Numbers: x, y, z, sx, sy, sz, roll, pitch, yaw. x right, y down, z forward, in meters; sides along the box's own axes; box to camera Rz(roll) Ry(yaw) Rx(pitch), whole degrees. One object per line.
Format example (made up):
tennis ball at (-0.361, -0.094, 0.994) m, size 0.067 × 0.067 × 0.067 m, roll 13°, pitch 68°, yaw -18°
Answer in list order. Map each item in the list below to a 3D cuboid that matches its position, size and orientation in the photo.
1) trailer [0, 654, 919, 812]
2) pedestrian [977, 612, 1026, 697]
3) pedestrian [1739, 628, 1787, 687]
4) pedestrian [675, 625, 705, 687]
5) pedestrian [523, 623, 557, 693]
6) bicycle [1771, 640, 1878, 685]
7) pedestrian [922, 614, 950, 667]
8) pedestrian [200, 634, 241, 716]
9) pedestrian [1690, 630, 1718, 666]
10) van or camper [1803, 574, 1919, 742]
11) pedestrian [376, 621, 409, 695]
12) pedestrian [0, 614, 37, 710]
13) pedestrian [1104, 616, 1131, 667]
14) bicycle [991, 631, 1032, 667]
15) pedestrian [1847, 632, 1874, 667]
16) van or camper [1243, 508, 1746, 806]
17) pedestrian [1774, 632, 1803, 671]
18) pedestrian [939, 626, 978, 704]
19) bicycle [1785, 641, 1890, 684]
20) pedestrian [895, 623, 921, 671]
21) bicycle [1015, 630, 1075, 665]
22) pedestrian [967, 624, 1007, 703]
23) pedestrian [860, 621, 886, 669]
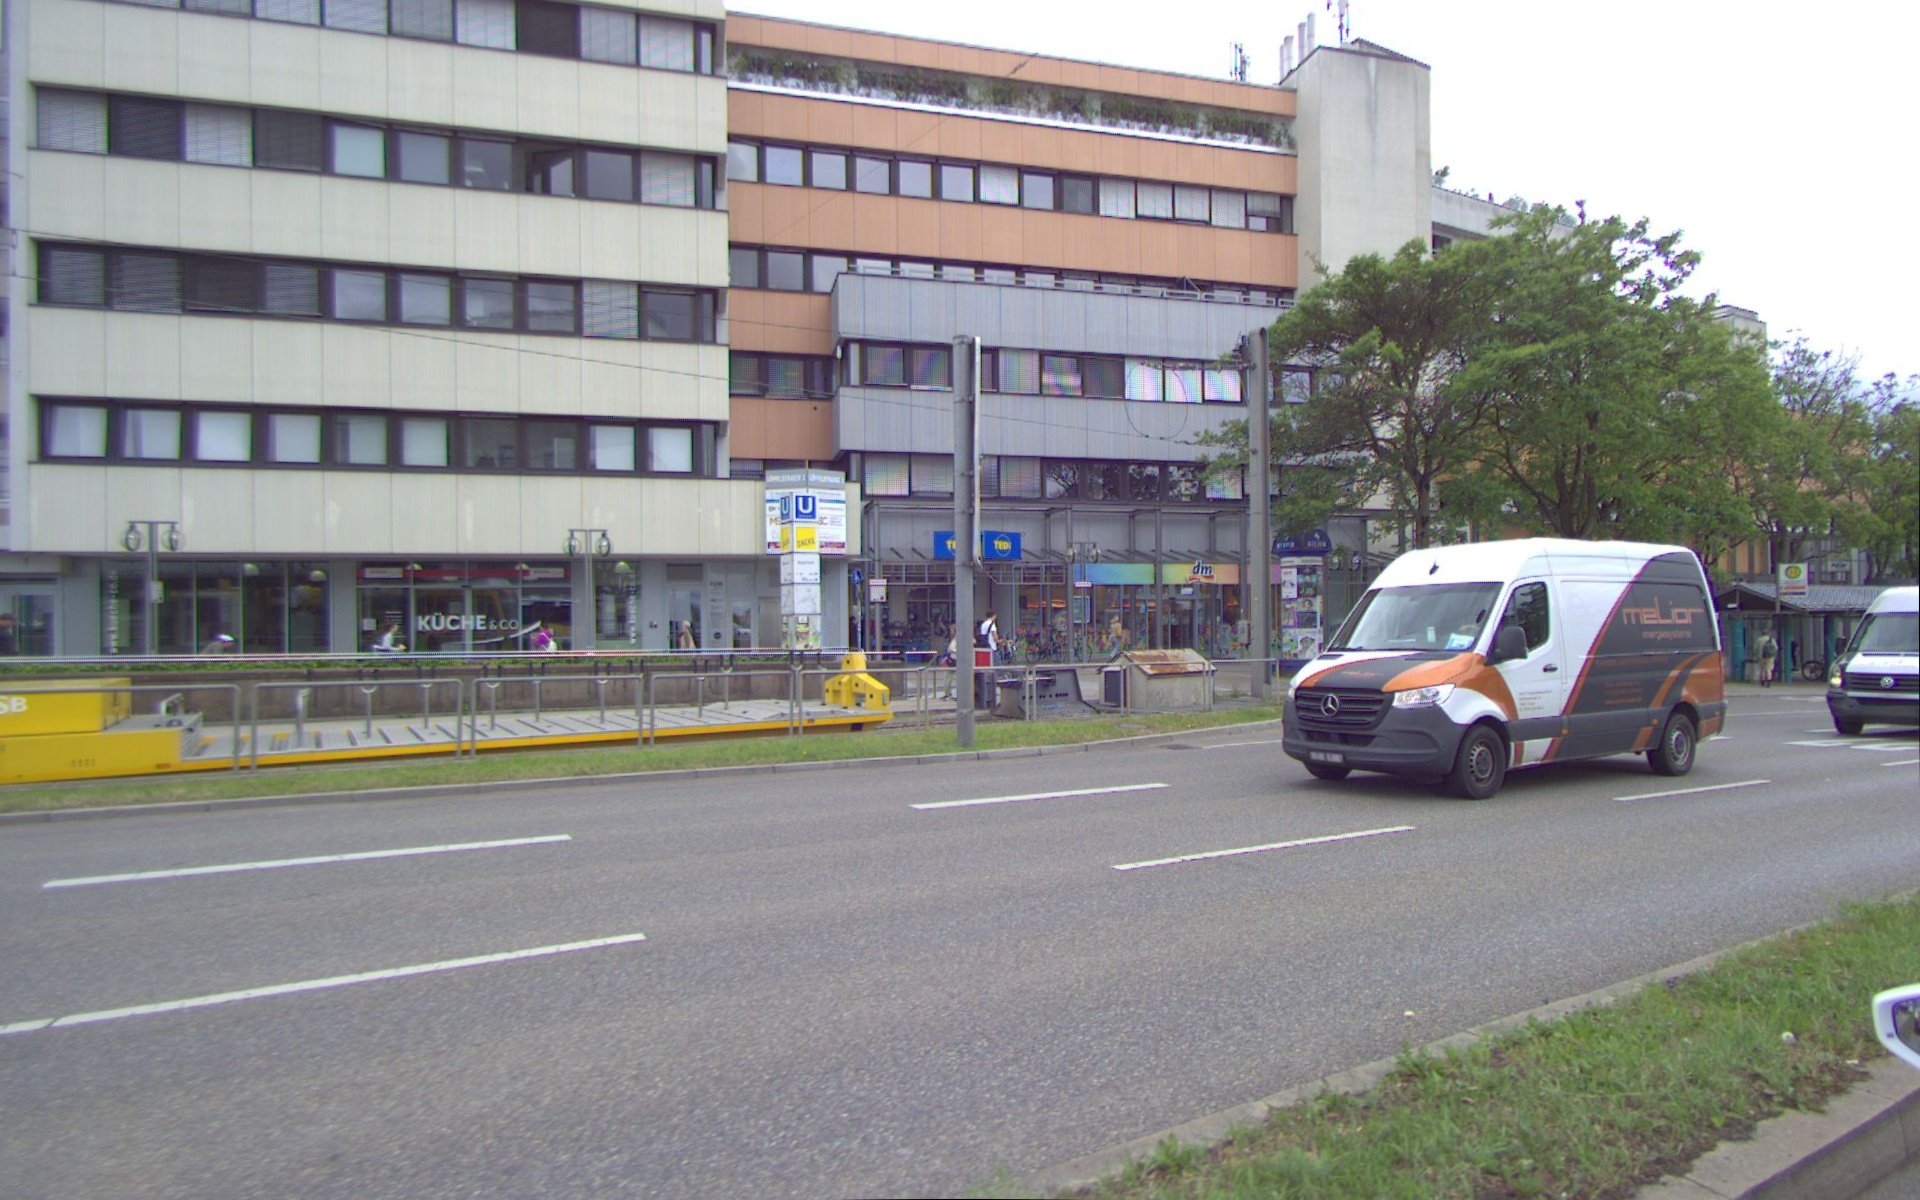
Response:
trailer at (-6.356, 1.471, 13.221) m, size 12.001 × 1.350 × 2.823 m, roll 1°, pitch -2°, yaw -34°
pedestrian at (0.951, 1.242, 22.994) m, size 0.864 × 1.902 × 0.741 m, roll 1°, pitch -2°, yaw -30°
pedestrian at (25.799, 1.855, 32.273) m, size 1.197 × 1.847 × 0.701 m, roll 2°, pitch 0°, yaw -25°
pedestrian at (-7.662, 1.582, 28.476) m, size 0.661 × 1.723 × 0.682 m, roll 1°, pitch -2°, yaw -30°
pedestrian at (-10.523, 1.434, 25.189) m, size 0.730 × 1.723 × 0.618 m, roll 1°, pitch -2°, yaw -19°
bicycle at (32.536, 2.328, 37.863) m, size 0.961 × 1.527 × 2.885 m, roll 1°, pitch 0°, yaw -29°
pedestrian at (-0.808, 1.356, 33.782) m, size 0.628 × 1.720 × 0.700 m, roll 1°, pitch 1°, yaw -30°
pedestrian at (-15.828, 1.595, 21.497) m, size 0.622 × 1.723 × 0.546 m, roll 1°, pitch -2°, yaw -32°
pedestrian at (36.963, 2.373, 49.901) m, size 0.811 × 1.739 × 0.767 m, roll 1°, pitch 1°, yaw -27°
van or camper at (17.469, 1.000, 17.631) m, size 6.042 × 2.632 × 2.024 m, roll 1°, pitch -3°, yaw -29°
pedestrian at (-13.519, 1.374, 23.926) m, size 0.622 × 1.723 × 0.546 m, roll 1°, pitch -2°, yaw -32°
pedestrian at (-17.385, 1.119, 18.330) m, size 0.622 × 1.723 × 0.687 m, roll 1°, pitch -2°, yaw -31°
pedestrian at (5.381, 1.403, 34.401) m, size 0.661 × 1.723 × 0.646 m, roll 1°, pitch -2°, yaw -30°
bicycle at (1.731, 1.634, 33.981) m, size 0.664 × 1.176 × 2.009 m, roll 1°, pitch -2°, yaw -21°
pedestrian at (46.785, 2.572, 52.194) m, size 0.877 × 1.739 × 0.766 m, roll 1°, pitch 1°, yaw -30°
van or camper at (6.128, 0.609, 11.253) m, size 6.042 × 2.632 × 1.985 m, roll 1°, pitch -3°, yaw -29°
pedestrian at (43.517, 2.703, 52.750) m, size 0.922 × 2.040 × 0.893 m, roll 2°, pitch -2°, yaw -27°
pedestrian at (-0.033, 1.357, 21.159) m, size 0.614 × 1.594 × 0.595 m, roll 1°, pitch -2°, yaw -32°
bicycle at (33.435, 2.354, 38.335) m, size 0.881 × 1.526 × 2.886 m, roll 1°, pitch -2°, yaw -29°
pedestrian at (-1.950, 1.755, 37.607) m, size 0.698 × 1.739 × 0.700 m, roll 1°, pitch 1°, yaw -30°
bicycle at (2.926, 1.640, 34.677) m, size 1.987 × 1.176 × 0.671 m, roll 1°, pitch -2°, yaw -19°
pedestrian at (0.564, 1.299, 20.786) m, size 0.614 × 1.594 × 0.595 m, roll 1°, pitch -2°, yaw -32°
pedestrian at (-3.195, 1.656, 36.974) m, size 0.698 × 1.739 × 0.700 m, roll 1°, pitch 1°, yaw -30°
